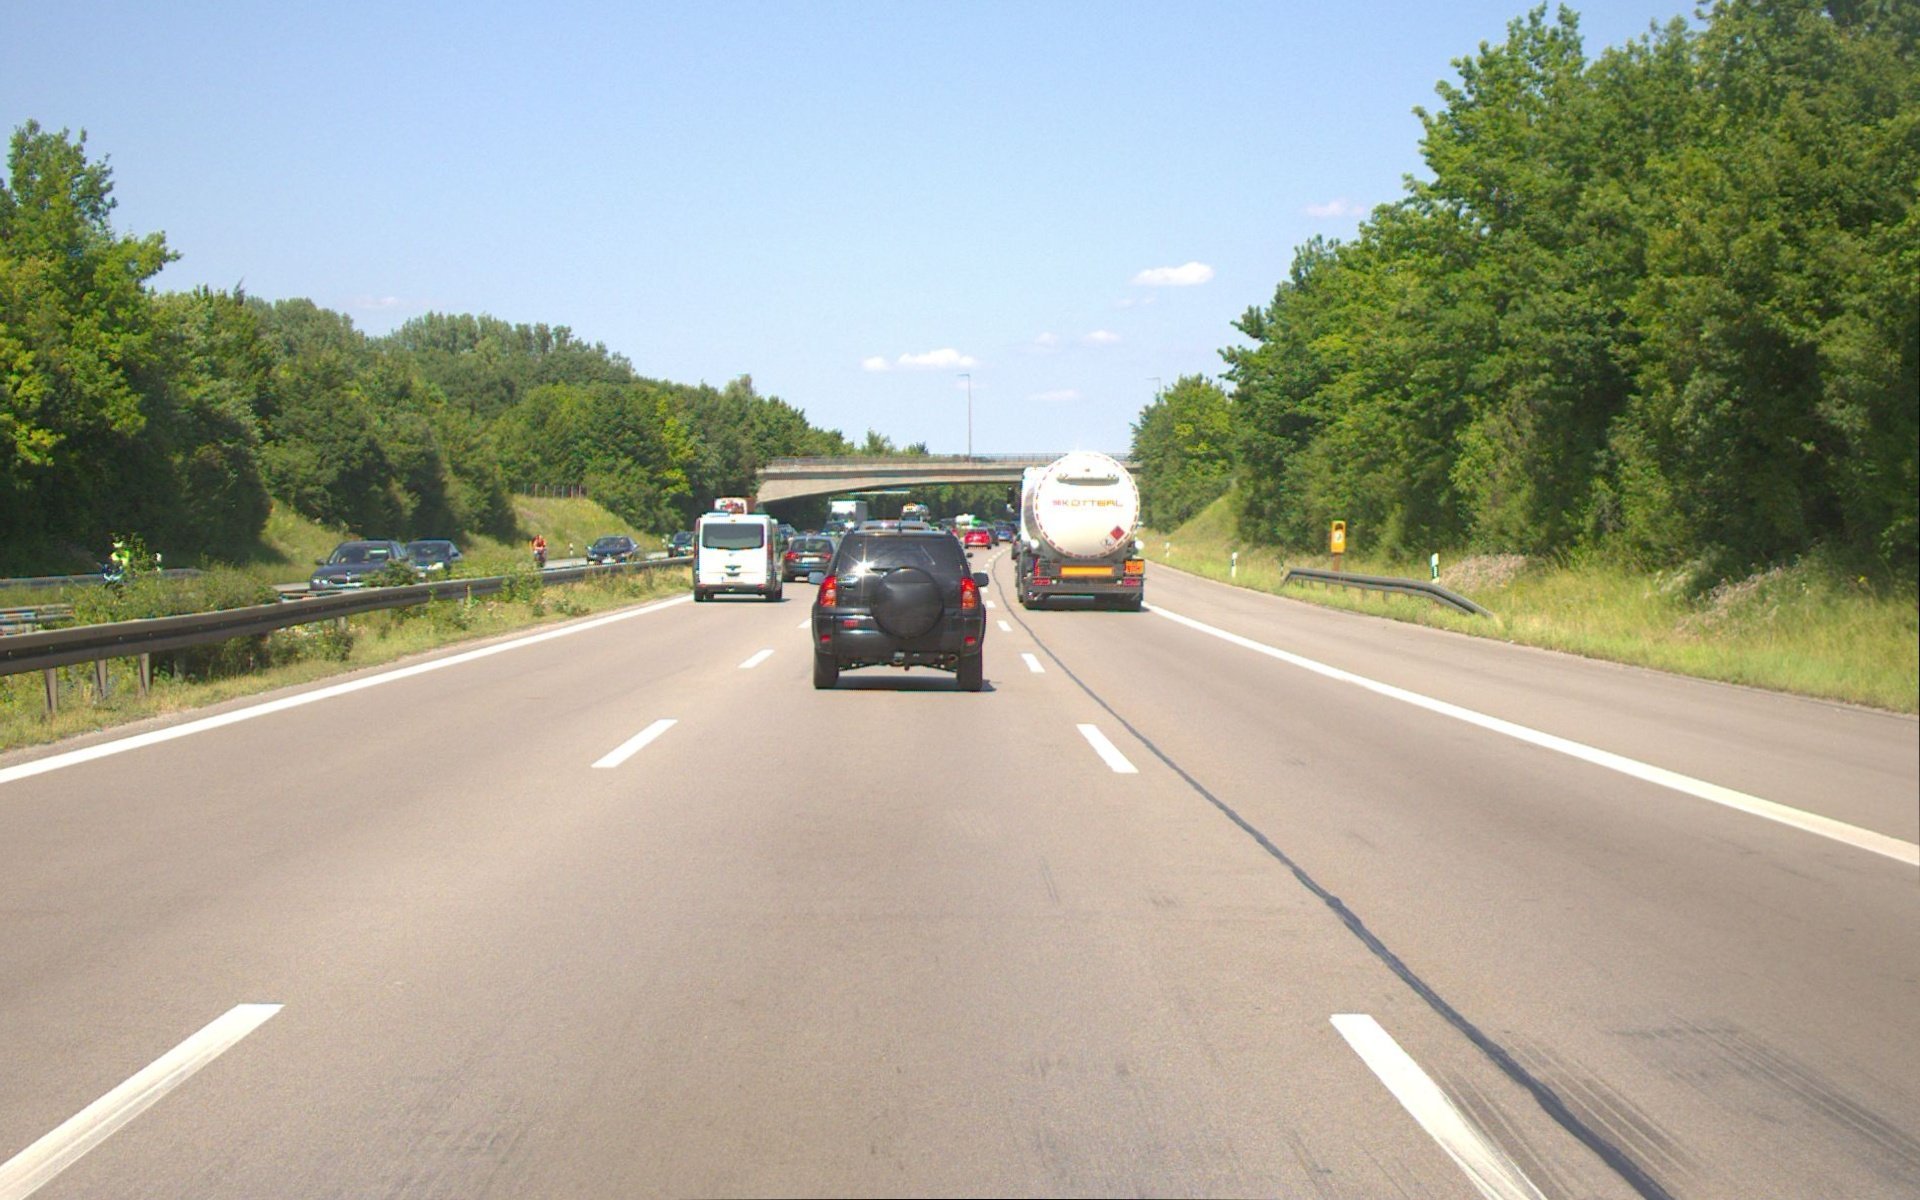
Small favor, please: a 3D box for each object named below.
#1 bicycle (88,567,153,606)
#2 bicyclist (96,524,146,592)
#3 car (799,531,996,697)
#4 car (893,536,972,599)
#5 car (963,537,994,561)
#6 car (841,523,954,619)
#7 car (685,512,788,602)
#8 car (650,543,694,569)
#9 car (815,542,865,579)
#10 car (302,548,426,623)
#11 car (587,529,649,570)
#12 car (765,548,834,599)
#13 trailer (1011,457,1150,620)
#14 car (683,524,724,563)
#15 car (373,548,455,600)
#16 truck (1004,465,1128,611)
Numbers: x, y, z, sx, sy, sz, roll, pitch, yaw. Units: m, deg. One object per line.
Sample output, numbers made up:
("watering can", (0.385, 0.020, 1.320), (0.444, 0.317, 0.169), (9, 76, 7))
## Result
("bicycle", (-19.802, -0.317, 81.167), (0.901, 0.913, 2.733), (0, 0, -1))
("bicyclist", (-19.801, -0.987, 81.145), (0.880, 1.571, 1.287), (0, 0, -1))
("car", (-0.605, 0.109, 36.385), (1.906, 1.659, 4.000), (0, 1, 1))
("car", (-0.742, -0.871, 94.507), (1.993, 1.678, 4.000), (0, 0, 2))
("car", (1.225, -3.398, 230.077), (1.993, 1.568, 4.000), (-1, 1, -1))
("car", (-1.117, -0.552, 63.562), (1.993, 1.700, 4.336), (-1, 1, 0))
("car", (-5.165, -1.010, 80.024), (1.993, 2.007, 4.950), (-1, 1, 1))
("car", (-16.368, -2.523, 195.490), (1.993, 1.470, 5.623), (0, 1, 0))
("car", (-5.090, -1.684, 146.500), (1.993, 1.568, 4.000), (-1, 1, -1))
("car", (-13.031, -0.334, 75.439), (1.993, 1.593, 4.592), (0, 1, -1))
("car", (-12.887, -1.903, 129.748), (1.993, 1.515, 4.428), (0, 1, -1))
("car", (-4.955, -0.814, 106.616), (1.993, 1.547, 4.000), (0, 0, -1))
("trailer", (2.626, -1.393, 77.971), (2.648, 3.378, 11.152), (1, 1, 0))
("car", (-12.544, -2.749, 168.204), (1.690, 1.875, 5.019), (0, 1, -1))
("car", (-16.858, -0.824, 106.280), (1.867, 1.579, 4.558), (0, 1, -1))
("truck", (2.523, -1.514, 83.742), (2.638, 3.363, 6.488), (1, 1, -1))
